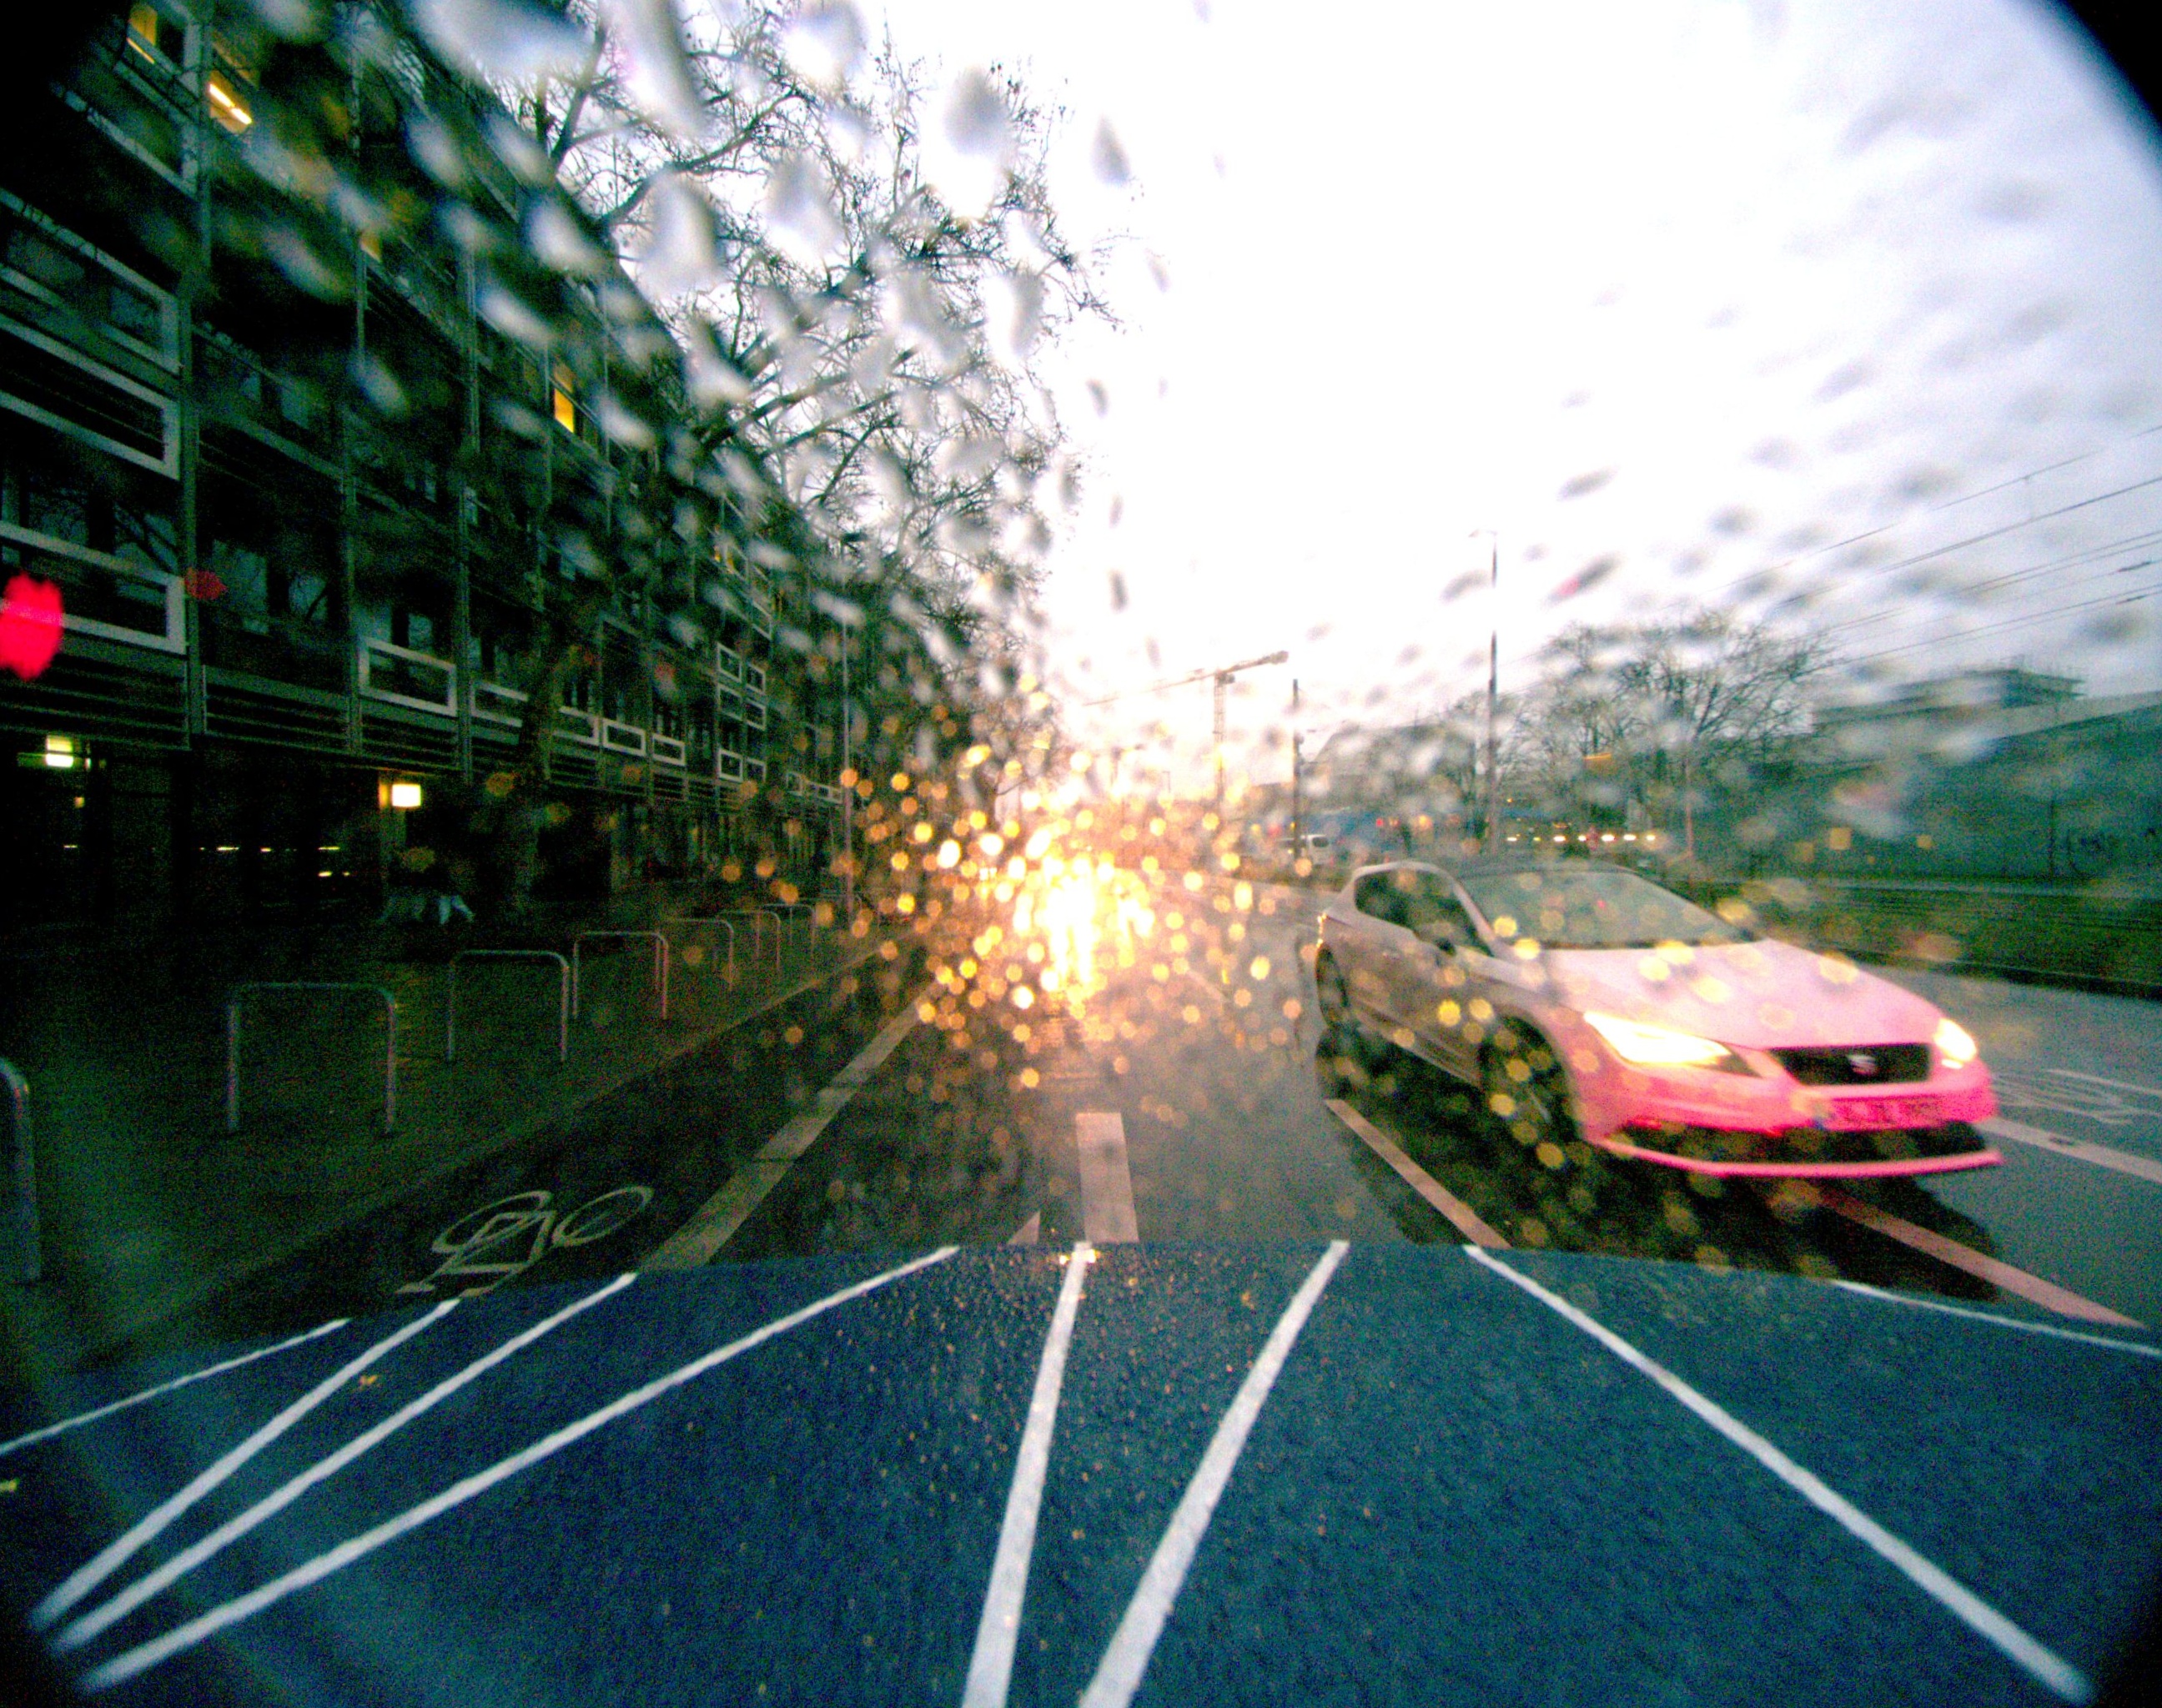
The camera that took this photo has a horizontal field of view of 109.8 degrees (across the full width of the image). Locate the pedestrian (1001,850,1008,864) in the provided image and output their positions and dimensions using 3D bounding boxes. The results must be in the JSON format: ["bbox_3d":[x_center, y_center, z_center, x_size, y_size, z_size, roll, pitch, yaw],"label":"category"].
[{"bbox_3d":[-11.621,0.481,115.566,0.838,2.002,0.771,-2,2,-1],"label":"pedestrian"}]

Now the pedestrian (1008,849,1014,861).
[{"bbox_3d":[-12.624,0.151,136.966,0.838,2.002,0.771,-2,2,-1],"label":"pedestrian"}]

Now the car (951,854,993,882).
[{"bbox_3d":[-6.160,0.788,43.313,1.608,1.424,3.930,2,1,2],"label":"car"}]

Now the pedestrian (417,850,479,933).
[{"bbox_3d":[-13.004,0.747,15.632,0.501,1.658,0.873,0,1,1],"label":"pedestrian"}]

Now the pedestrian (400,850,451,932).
[{"bbox_3d":[-13.492,0.739,15.657,0.379,1.658,0.713,0,1,1],"label":"pedestrian"}]

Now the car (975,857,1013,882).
[{"bbox_3d":[-5.834,1.027,51.443,1.998,1.477,3.999,-2,1,1],"label":"car"}]

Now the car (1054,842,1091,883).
[{"bbox_3d":[-0.405,0.421,40.030,1.858,2.002,4.000,-1,0,1],"label":"car"}]

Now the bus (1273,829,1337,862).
[{"bbox_3d":[26.265,-0.974,89.856,2.815,3.557,12.298,-1,0,-6],"label":"bus"}]

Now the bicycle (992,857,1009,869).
[{"bbox_3d":[-7.218,0.801,68.231,1.523,1.030,0.469,-2,1,-7],"label":"bicycle"}]

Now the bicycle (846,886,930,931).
[{"bbox_3d":[-4.445,1.248,17.544,1.792,0.968,0.617,1,1,-4],"label":"bicycle"}]

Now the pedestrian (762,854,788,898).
[{"bbox_3d":[-10.895,0.785,27.091,0.649,1.535,0.615,0,1,1],"label":"pedestrian"}]

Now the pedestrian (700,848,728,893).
[{"bbox_3d":[-13.629,0.608,28.221,0.617,1.647,0.780,-1,1,1],"label":"pedestrian"}]

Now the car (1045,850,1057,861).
[{"bbox_3d":[-6.124,0.280,153.495,2.000,2.002,3.996,-2,1,-9],"label":"car"}]

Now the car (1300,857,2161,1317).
[{"bbox_3d":[2.911,0.799,4.664,1.778,1.466,4.128,-2,1,-2],"label":"car"}]

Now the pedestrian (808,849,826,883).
[{"bbox_3d":[-12.959,0.567,37.309,0.643,1.645,0.840,-1,1,-34],"label":"pedestrian"}]

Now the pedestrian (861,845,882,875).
[{"bbox_3d":[-10.794,0.308,39.179,0.866,1.515,0.837,-1,1,-2],"label":"pedestrian"}]

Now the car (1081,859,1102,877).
[{"bbox_3d":[1.004,1.302,71.960,1.858,1.591,4.001,-1,-1,1],"label":"car"}]

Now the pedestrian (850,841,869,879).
[{"bbox_3d":[-11.941,0.330,40.941,0.822,2.002,0.735,-1,1,-2],"label":"pedestrian"}]

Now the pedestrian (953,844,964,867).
[{"bbox_3d":[-10.589,0.132,65.609,0.791,2.002,1.024,-1,1,0],"label":"pedestrian"}]

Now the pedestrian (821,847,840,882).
[{"bbox_3d":[-12.487,0.512,37.852,0.662,1.708,0.840,-1,1,-33],"label":"pedestrian"}]

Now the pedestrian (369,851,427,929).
[{"bbox_3d":[-14.000,0.724,15.589,0.484,1.555,0.745,-1,1,-1],"label":"pedestrian"}]
